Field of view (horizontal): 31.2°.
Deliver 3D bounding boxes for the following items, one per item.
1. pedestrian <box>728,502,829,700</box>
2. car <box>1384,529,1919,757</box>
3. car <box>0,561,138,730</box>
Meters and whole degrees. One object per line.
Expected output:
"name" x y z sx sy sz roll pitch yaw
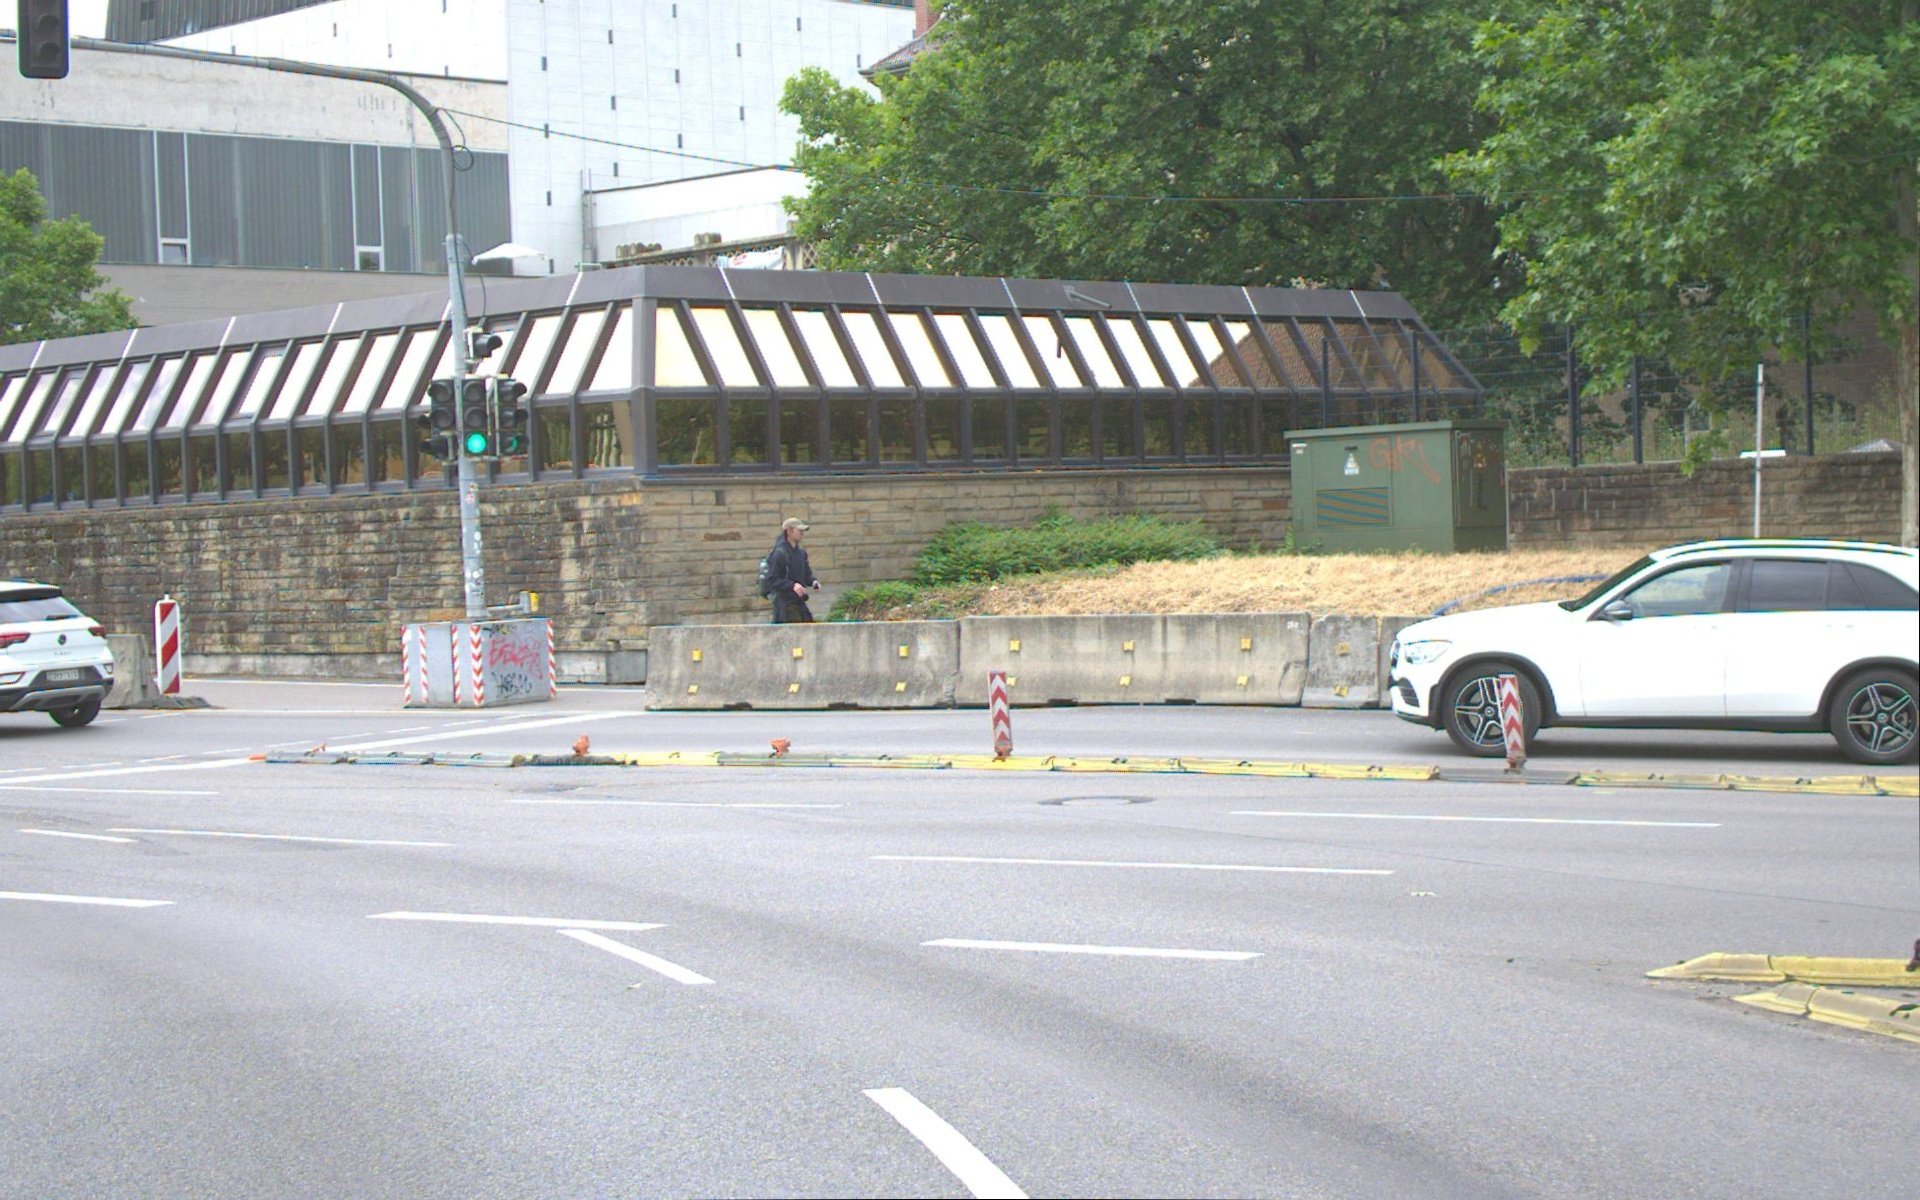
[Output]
"pedestrian" -1.870 0.014 35.477 0.848 2.007 0.622 -2 0 13
"car" 5.602 0.297 26.517 4.539 1.637 1.817 0 2 10
"car" -10.760 0.495 35.662 4.325 1.562 1.753 -2 3 33
